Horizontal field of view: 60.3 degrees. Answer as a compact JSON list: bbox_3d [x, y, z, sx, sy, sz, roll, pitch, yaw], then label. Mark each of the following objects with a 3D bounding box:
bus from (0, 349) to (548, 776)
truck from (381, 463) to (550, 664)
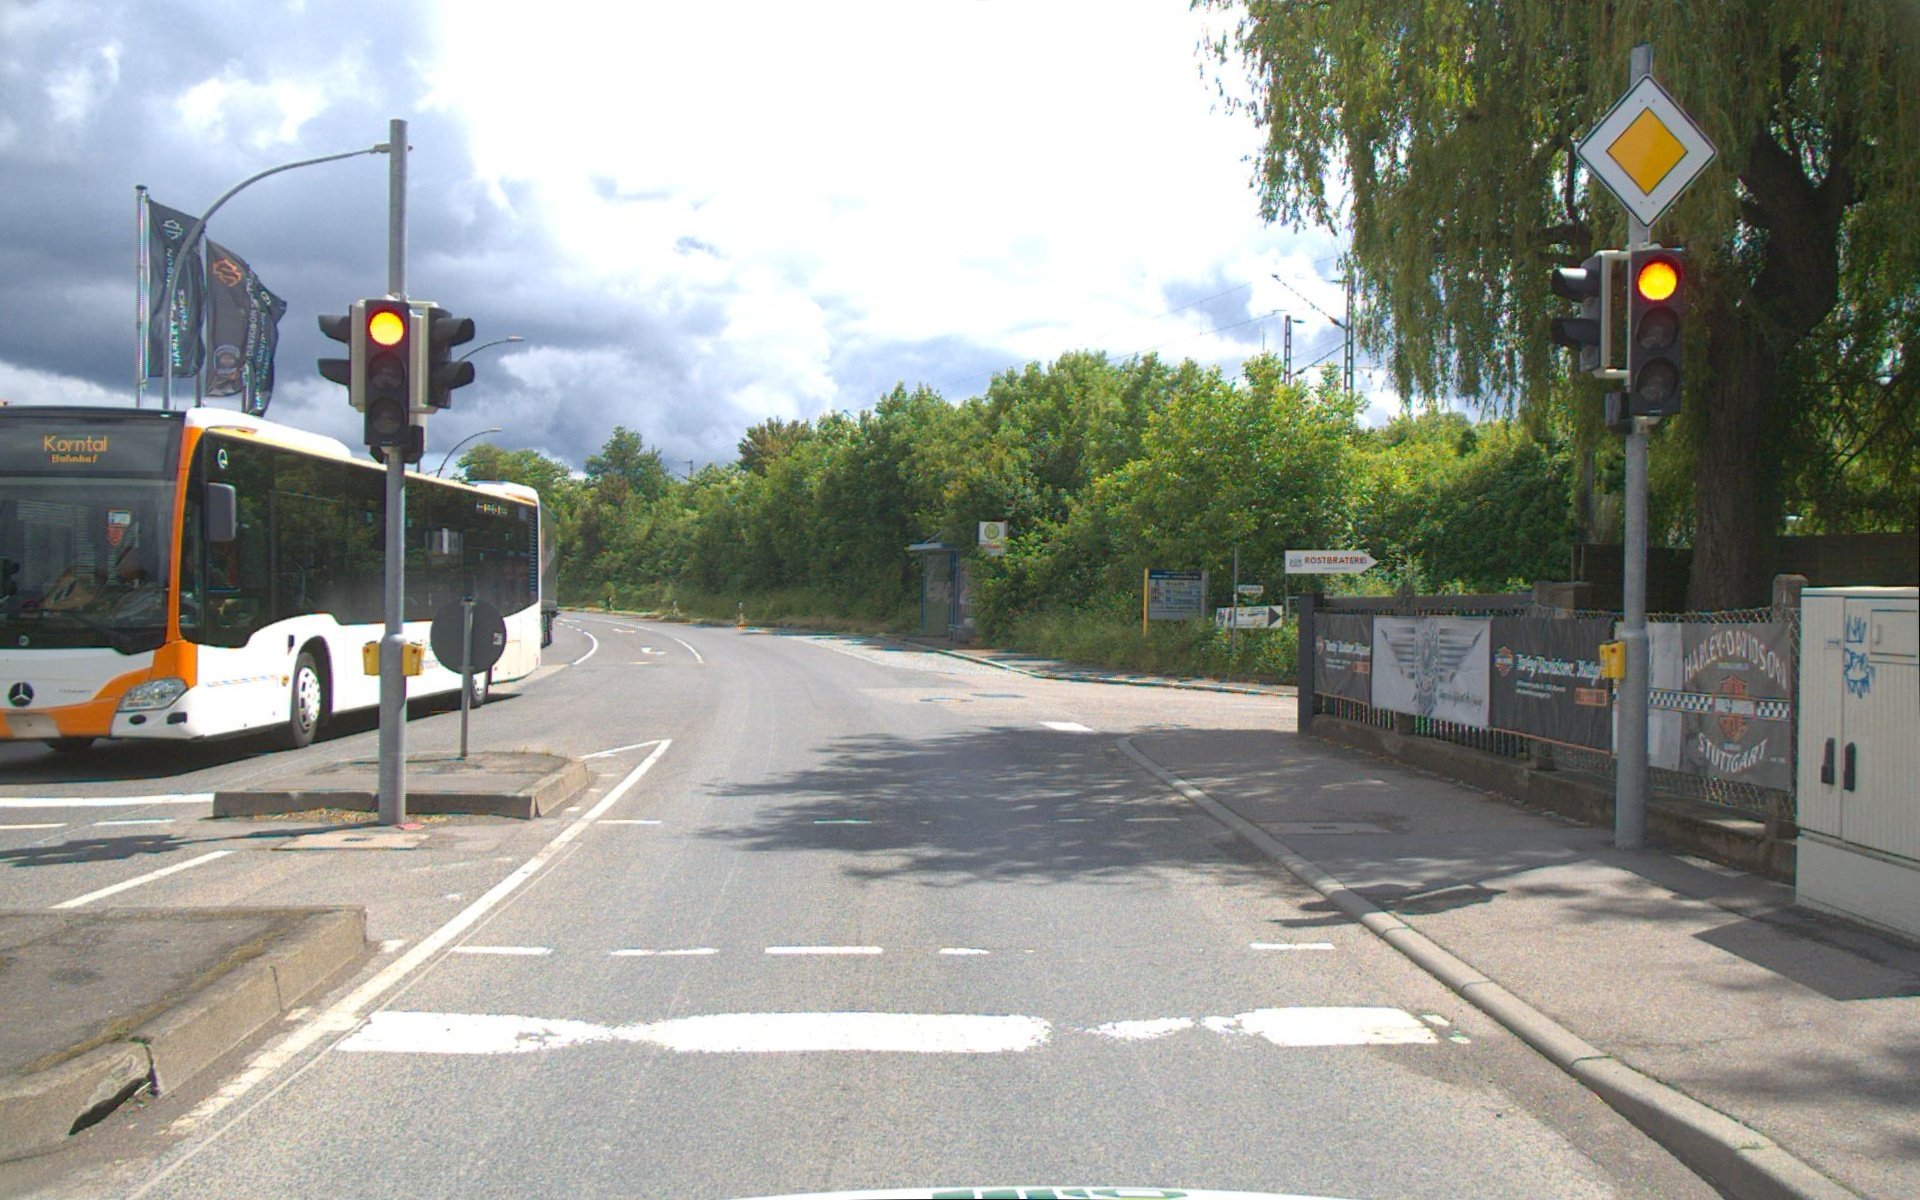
[{"bbox_3d":[-7.508,-0.282,18.959,2.721,3.323,12.120,0,0,-1],"label":"bus"},{"bbox_3d":[-11.723,-0.772,40.010,2.383,4.203,9.133,3,0,-8],"label":"truck"}]
